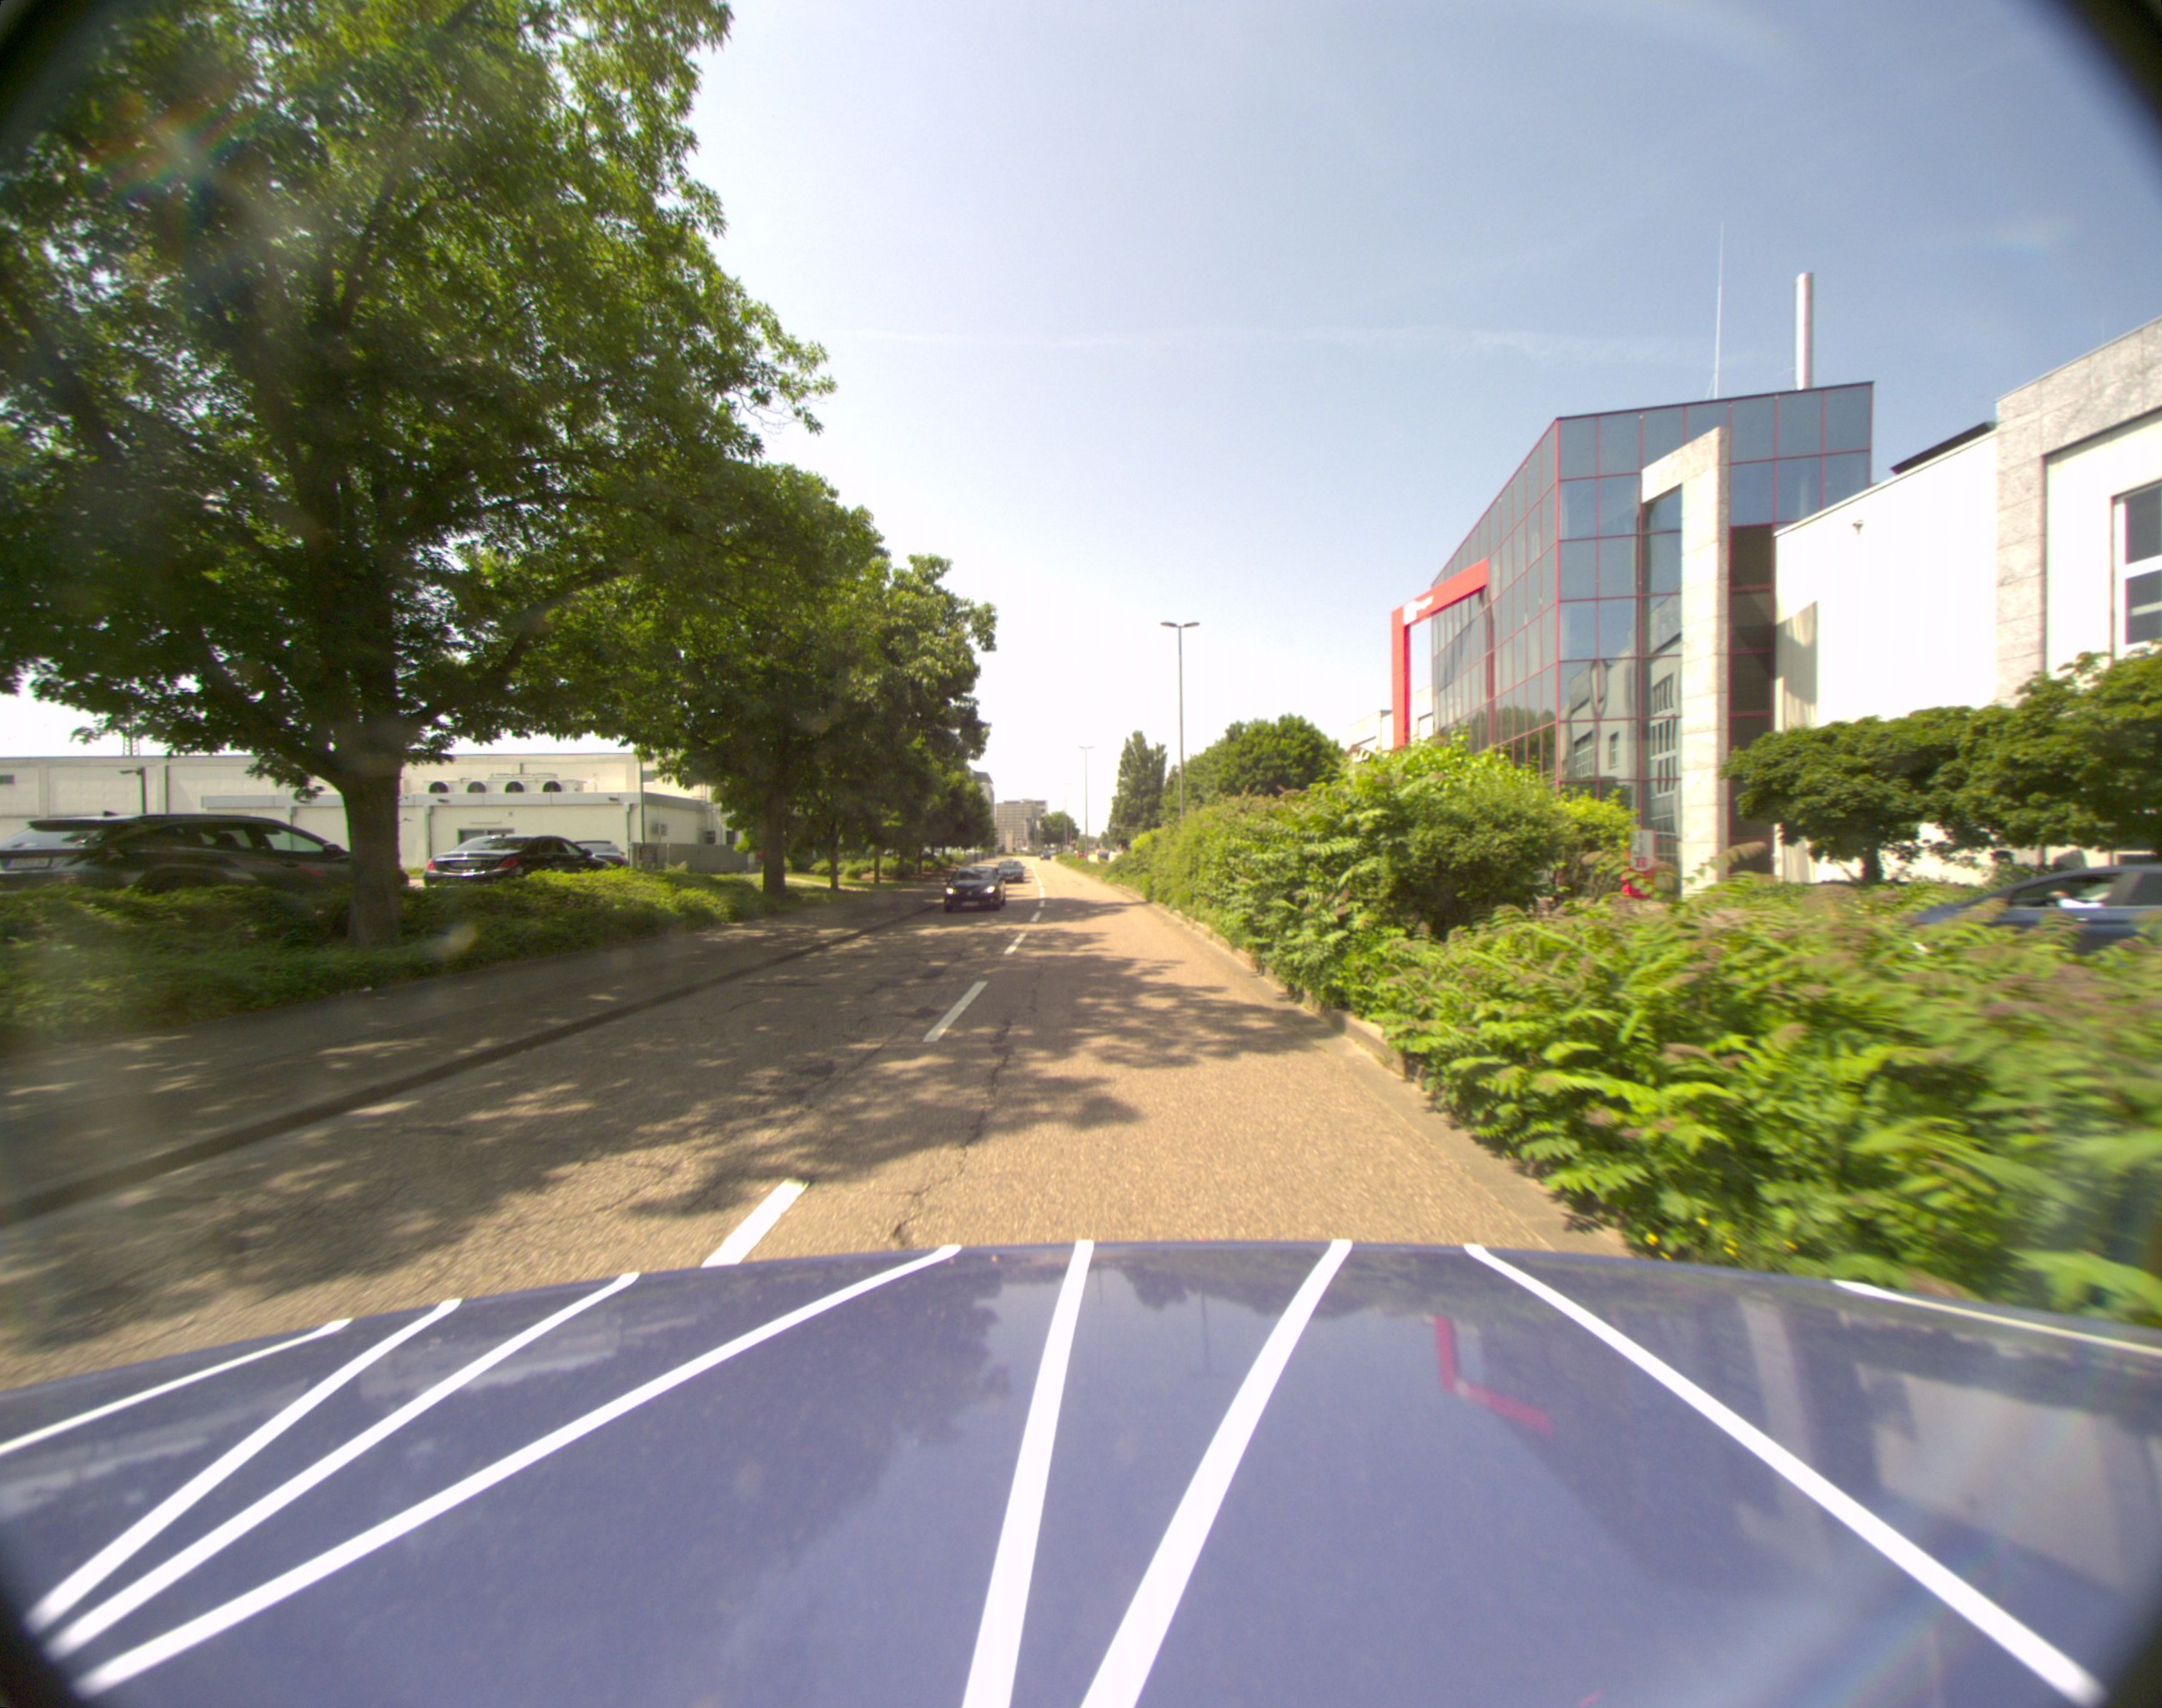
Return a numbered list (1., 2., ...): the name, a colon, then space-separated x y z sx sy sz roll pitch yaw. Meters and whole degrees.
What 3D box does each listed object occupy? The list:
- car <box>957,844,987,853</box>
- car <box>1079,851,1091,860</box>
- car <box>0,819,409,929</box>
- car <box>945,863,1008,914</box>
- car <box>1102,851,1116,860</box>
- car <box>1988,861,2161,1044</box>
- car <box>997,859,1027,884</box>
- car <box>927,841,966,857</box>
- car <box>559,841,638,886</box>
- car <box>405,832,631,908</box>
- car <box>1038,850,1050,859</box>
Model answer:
1. car: -17.494 -0.897 122.382 4.589 1.496 1.697 -1 1 -3
2. car: 0.687 0.226 125.373 1.734 1.316 4.147 0 1 -3
3. car: -12.555 0.211 11.060 1.623 1.246 4.199 -3 1 2
4. car: -3.227 1.042 24.025 1.641 1.349 3.498 -2 1 -3
5. car: 4.542 0.279 123.122 1.727 1.408 4.245 1 0 -4
6. car: 11.053 0.961 6.742 1.693 1.642 3.630 -2 1 0
7. car: -4.141 1.004 46.191 1.712 1.316 3.953 1 1 -4
8. car: -17.276 -0.645 97.761 4.629 1.913 1.826 -1 1 -2
9. car: -16.000 0.262 25.087 1.957 1.344 4.703 -1 0 -35
10. car: -12.864 0.280 17.958 1.912 1.443 5.596 -2 1 -10
11. car: -5.778 0.114 119.658 1.868 1.390 3.999 0 0 -2
